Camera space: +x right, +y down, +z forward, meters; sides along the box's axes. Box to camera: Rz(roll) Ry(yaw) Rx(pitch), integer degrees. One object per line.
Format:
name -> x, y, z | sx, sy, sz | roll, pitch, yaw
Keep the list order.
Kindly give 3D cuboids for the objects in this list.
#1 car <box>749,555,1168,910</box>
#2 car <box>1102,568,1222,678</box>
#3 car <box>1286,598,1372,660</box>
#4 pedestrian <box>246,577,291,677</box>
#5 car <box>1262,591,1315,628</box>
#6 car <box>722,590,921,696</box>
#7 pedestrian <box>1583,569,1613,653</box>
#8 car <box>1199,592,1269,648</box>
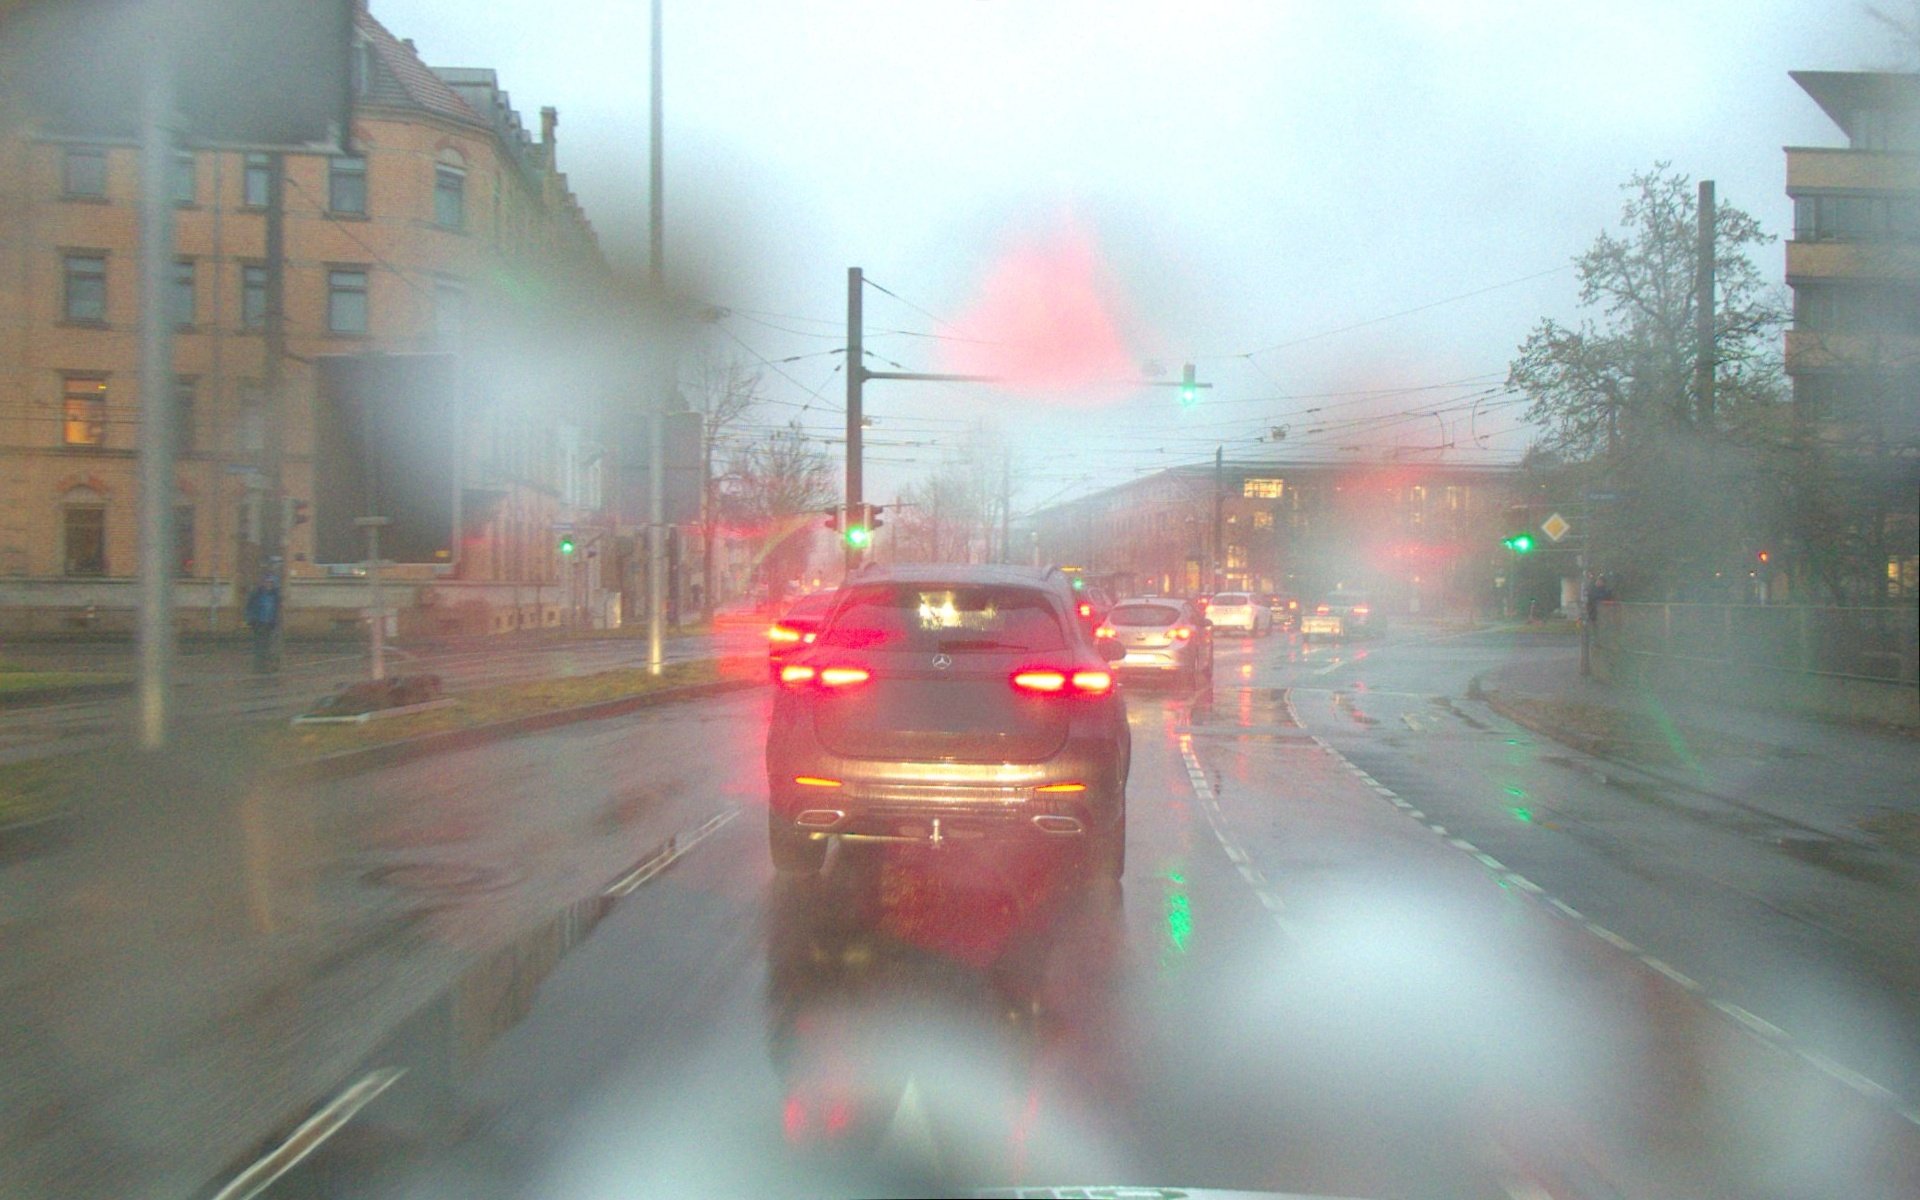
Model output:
car -> -0.056, 0.593, 9.698 | 1.950, 1.644, 3.999 | 0, 1, -2
car -> 3.621, 0.354, 29.194 | 1.951, 1.796, 4.004 | 0, 1, 9
car -> 11.488, 0.865, 51.334 | 1.953, 1.796, 3.999 | 0, 1, 23
pedestrian -> -12.703, 0.494, 30.399 | 0.457, 1.803, 0.629 | 1, 0, 15
car -> 13.220, 0.348, 66.432 | 1.822, 1.434, 3.947 | 0, 1, 15
car -> -1.953, 0.573, 24.627 | 1.951, 1.422, 4.004 | 0, 1, 11
pedestrian -> 14.660, 0.241, 37.998 | 0.560, 1.870, 0.683 | -3, 1, 21
car -> 9.306, 0.626, 55.941 | 1.951, 1.796, 4.003 | 0, 1, 15
